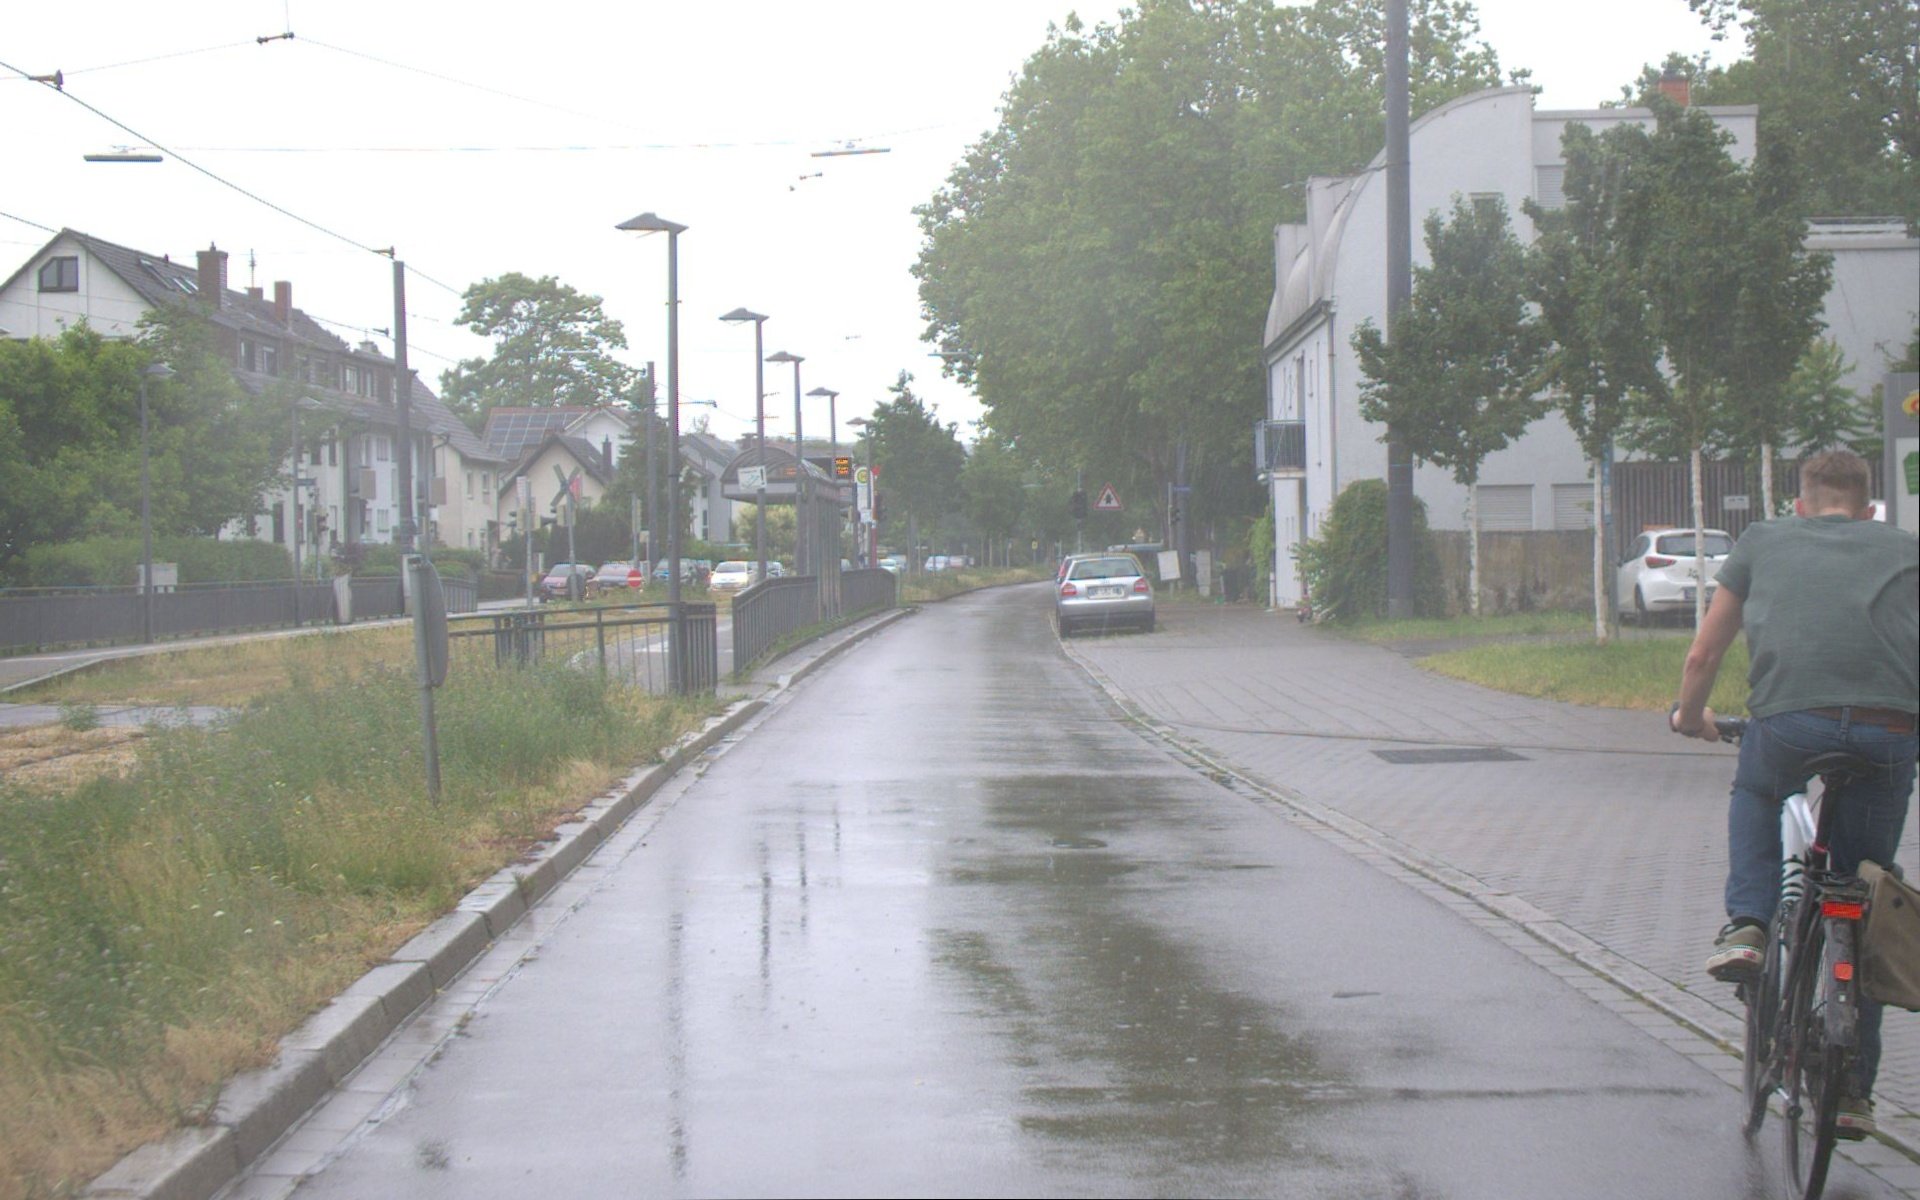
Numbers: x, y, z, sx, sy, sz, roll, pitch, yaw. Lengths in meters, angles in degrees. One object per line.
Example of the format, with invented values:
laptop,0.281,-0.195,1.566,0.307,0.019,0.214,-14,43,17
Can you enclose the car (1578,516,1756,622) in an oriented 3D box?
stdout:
car,10.677,-0.507,52.206,1.963,1.529,4.363,0,1,3

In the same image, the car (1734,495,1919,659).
car,10.434,-0.313,39.930,1.963,1.778,4.897,0,1,2

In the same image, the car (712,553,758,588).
car,-9.898,-1.283,151.286,1.633,1.488,4.000,0,0,2

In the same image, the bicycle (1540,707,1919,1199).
bicycle,1.913,0.831,8.187,0.536,1.089,1.949,0,0,-6

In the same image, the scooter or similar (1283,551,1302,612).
scooter or similar,5.973,-0.329,61.730,0.333,1.081,1.395,0,0,6

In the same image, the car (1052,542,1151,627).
car,2.565,-0.274,62.982,1.650,1.400,4.649,-4,0,1

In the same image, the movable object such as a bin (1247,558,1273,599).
movable object such as a bin,7.630,-0.538,87.496,0.536,1.018,0.739,-3,0,1

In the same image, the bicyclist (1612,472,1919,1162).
bicyclist,1.928,0.488,8.160,0.534,1.554,0.773,0,0,-7

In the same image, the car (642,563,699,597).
car,-12.908,-0.883,153.293,1.929,1.481,3.999,0,0,4

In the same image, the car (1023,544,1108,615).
car,2.407,-0.455,79.029,1.807,1.462,3.794,-4,0,1

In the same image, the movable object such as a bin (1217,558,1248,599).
movable object such as a bin,7.000,-0.545,88.339,0.692,1.018,0.824,-3,0,1
